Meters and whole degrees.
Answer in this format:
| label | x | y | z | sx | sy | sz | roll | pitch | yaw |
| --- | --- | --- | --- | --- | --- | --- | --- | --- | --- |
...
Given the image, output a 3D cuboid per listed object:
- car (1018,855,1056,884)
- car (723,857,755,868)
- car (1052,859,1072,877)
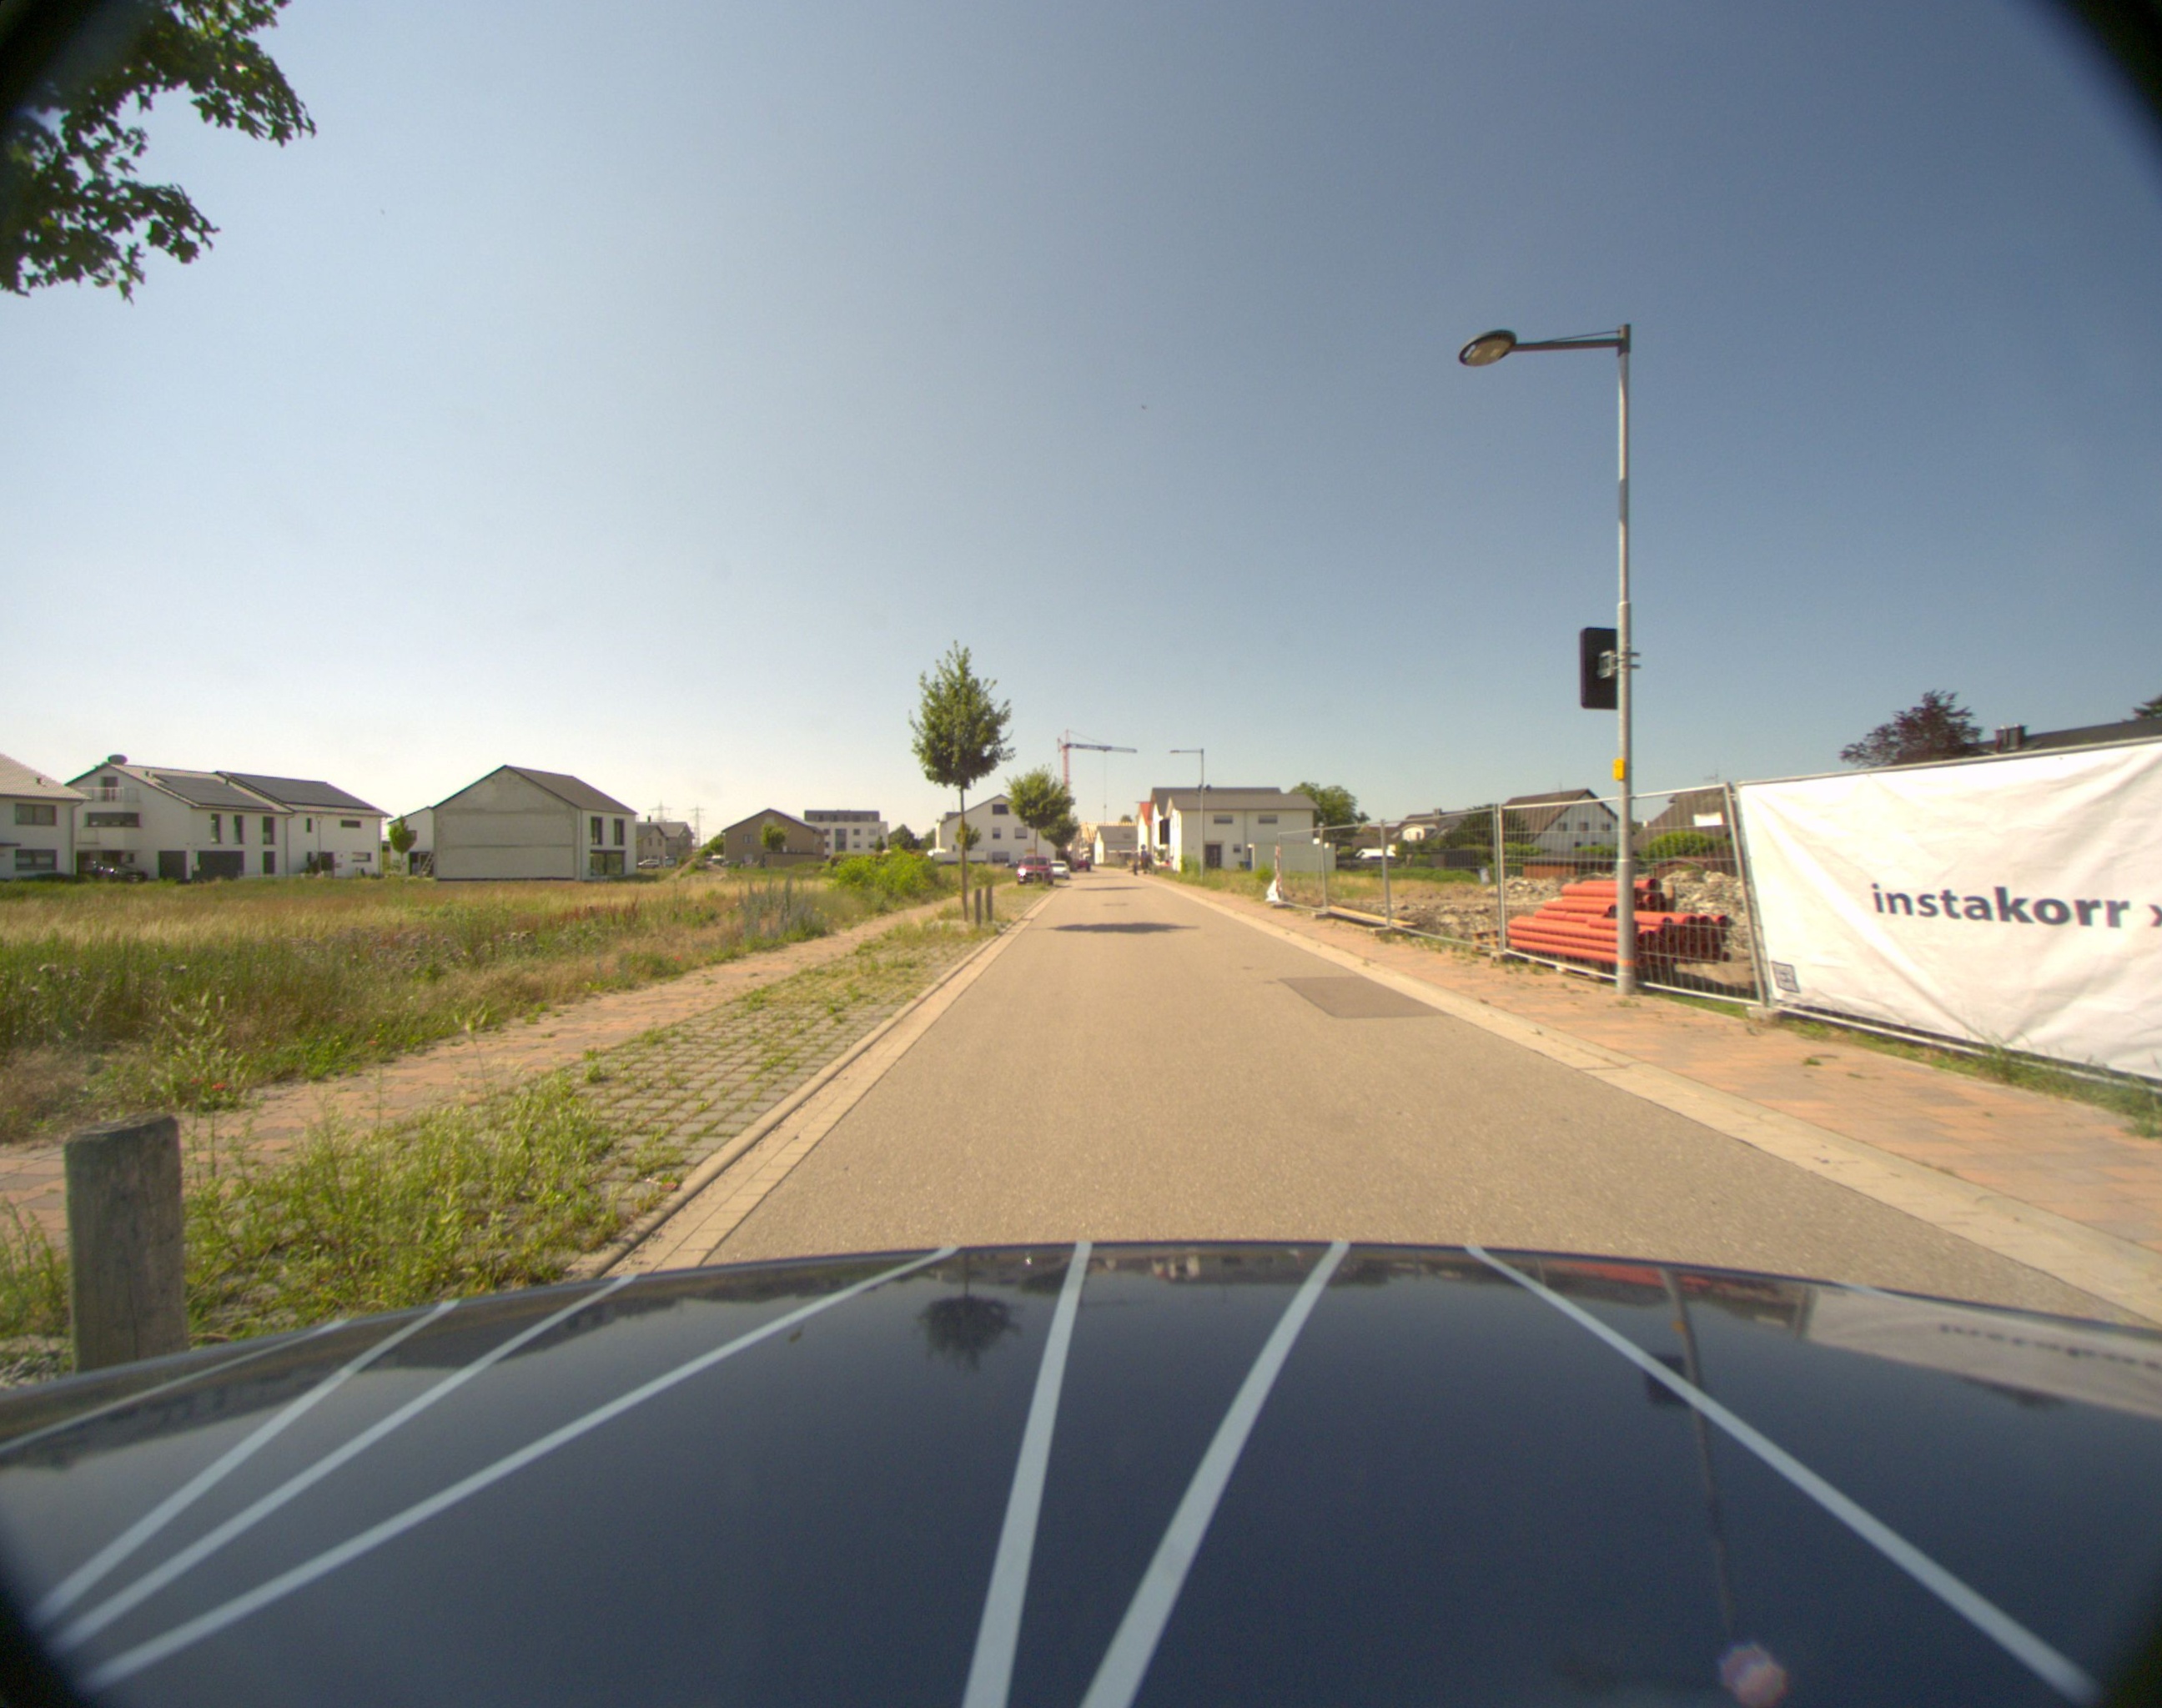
| label | x | y | z | sx | sy | sz | roll | pitch | yaw |
| --- | --- | --- | --- | --- | --- | --- | --- | --- | --- |
| car | -2.339 | 0.803 | 41.522 | 1.769 | 1.483 | 4.000 | -1 | 0 | 1 |
| car | -49.914 | 1.212 | 110.936 | 4.000 | 1.444 | 1.633 | -1 | 0 | -8 |
| car | -1.484 | 1.133 | 61.187 | 1.493 | 1.389 | 3.272 | -1 | 0 | 1 |
